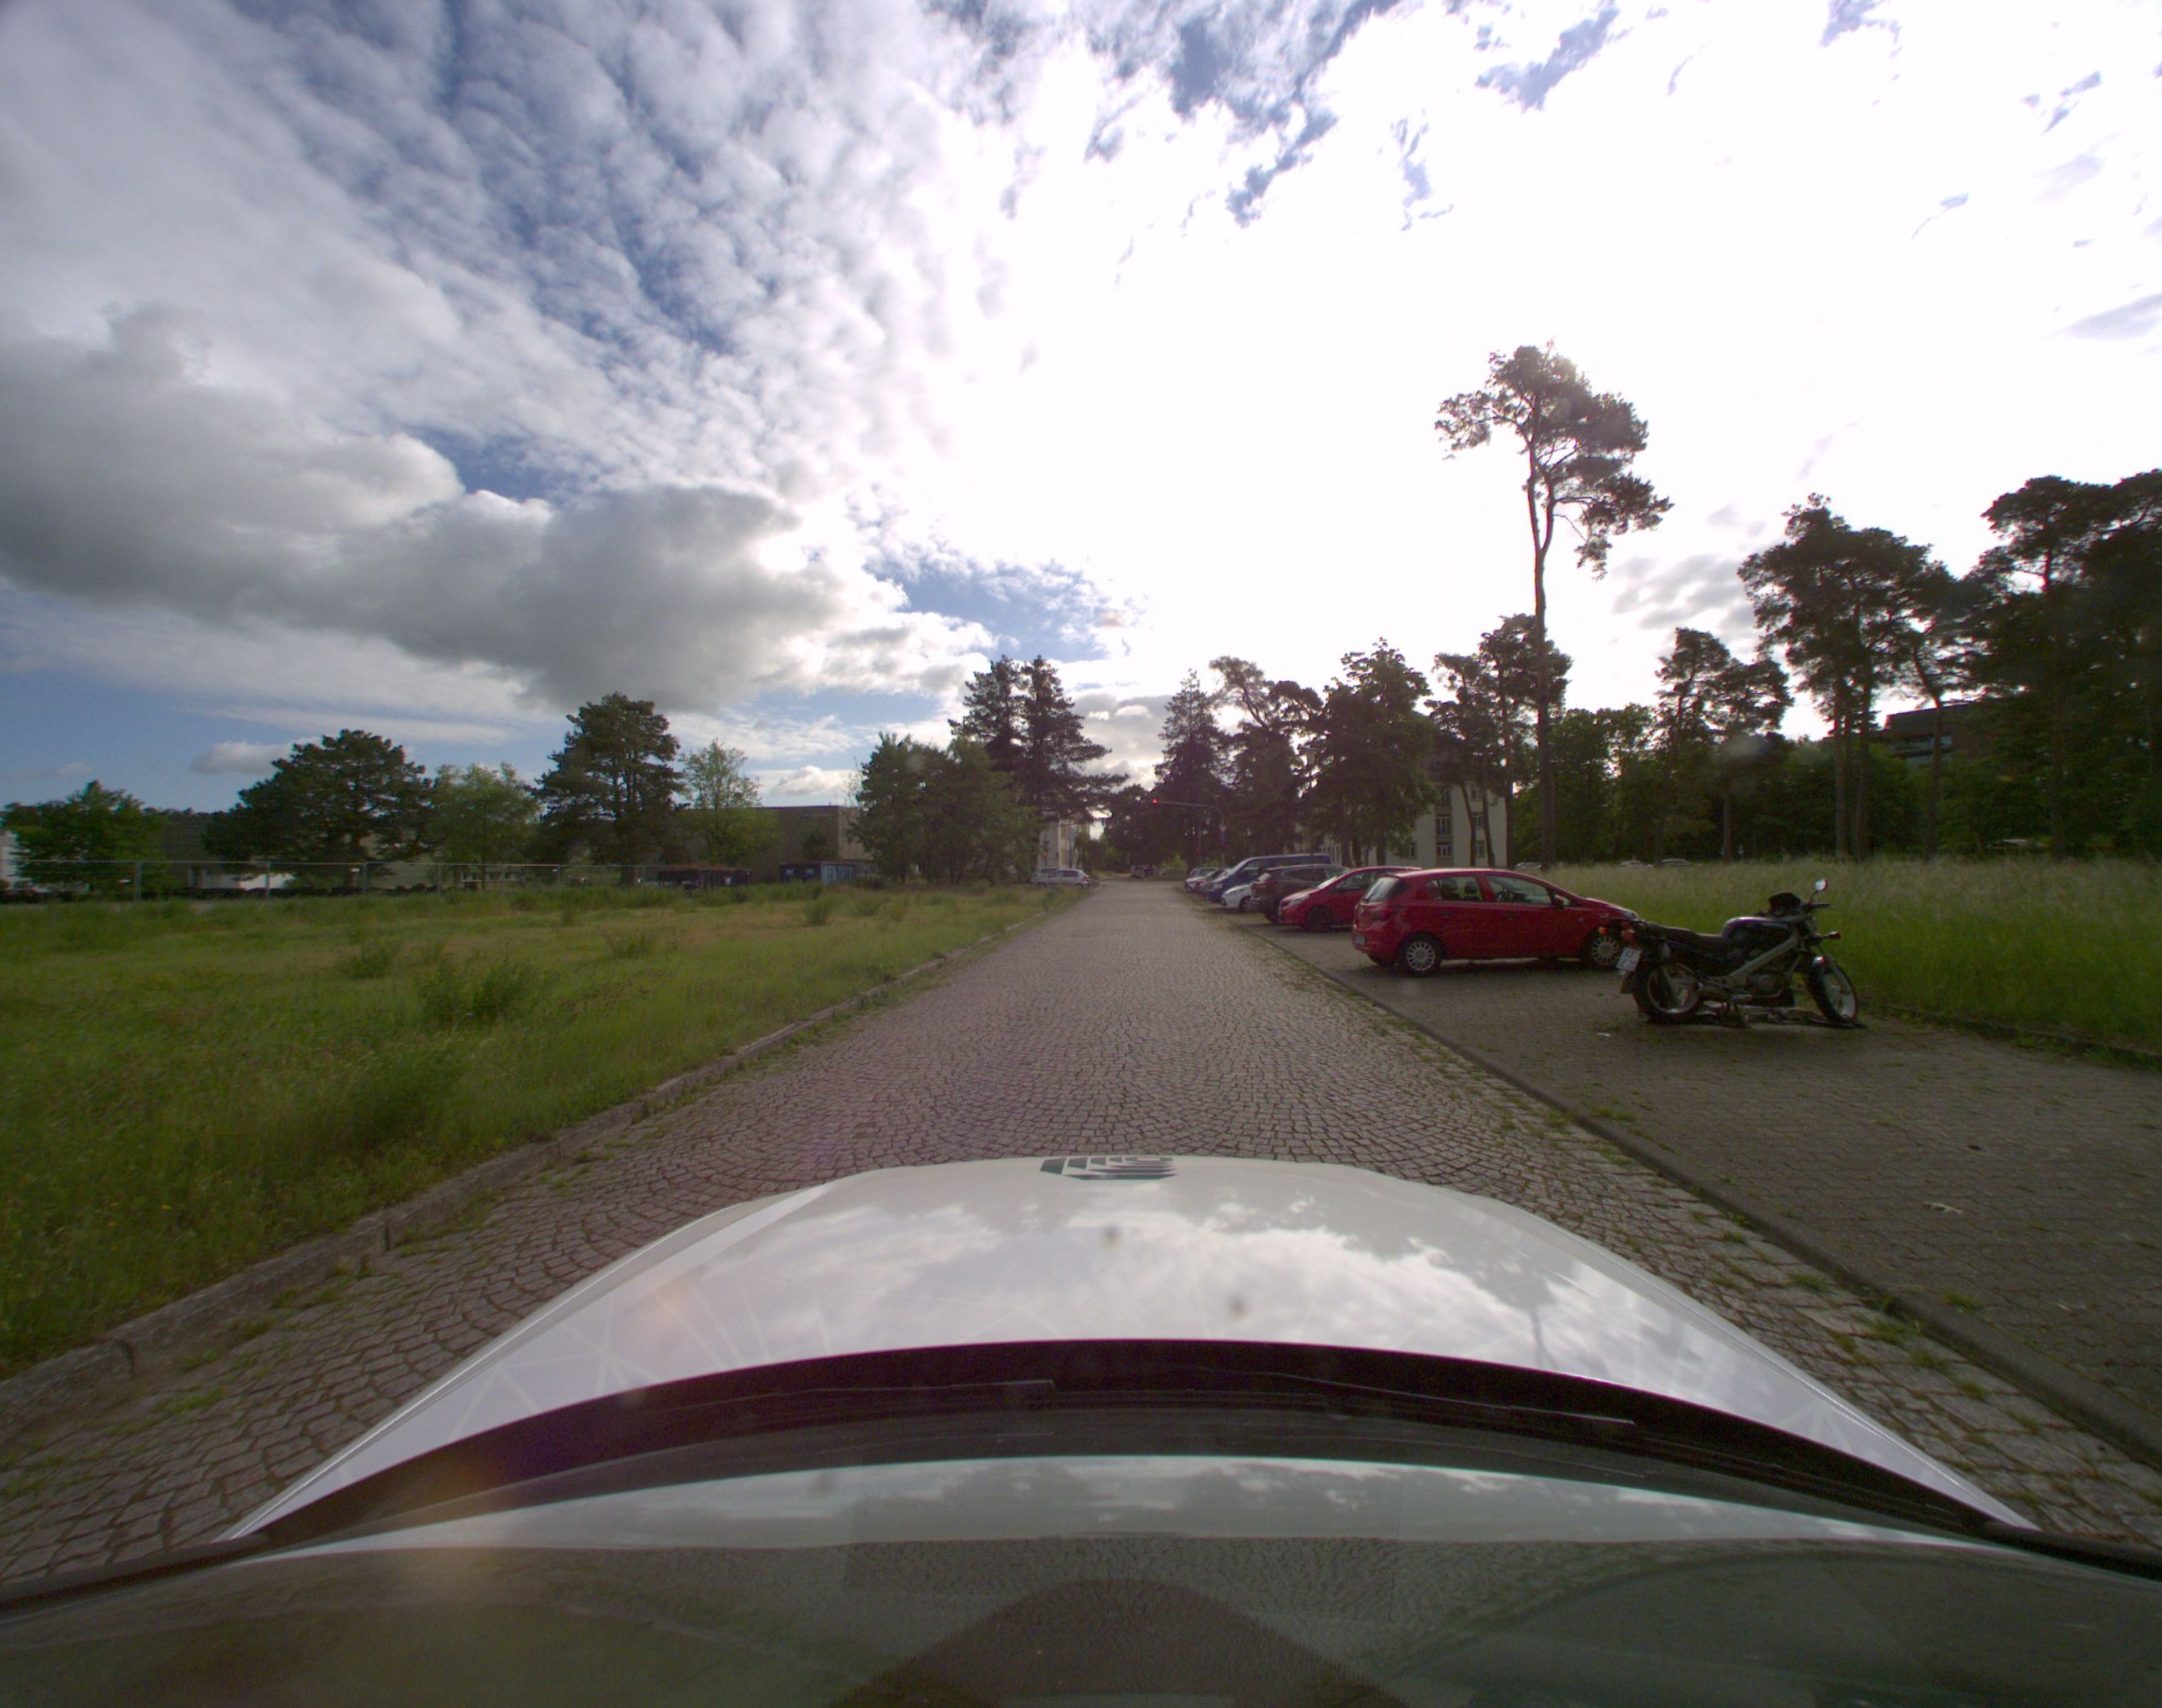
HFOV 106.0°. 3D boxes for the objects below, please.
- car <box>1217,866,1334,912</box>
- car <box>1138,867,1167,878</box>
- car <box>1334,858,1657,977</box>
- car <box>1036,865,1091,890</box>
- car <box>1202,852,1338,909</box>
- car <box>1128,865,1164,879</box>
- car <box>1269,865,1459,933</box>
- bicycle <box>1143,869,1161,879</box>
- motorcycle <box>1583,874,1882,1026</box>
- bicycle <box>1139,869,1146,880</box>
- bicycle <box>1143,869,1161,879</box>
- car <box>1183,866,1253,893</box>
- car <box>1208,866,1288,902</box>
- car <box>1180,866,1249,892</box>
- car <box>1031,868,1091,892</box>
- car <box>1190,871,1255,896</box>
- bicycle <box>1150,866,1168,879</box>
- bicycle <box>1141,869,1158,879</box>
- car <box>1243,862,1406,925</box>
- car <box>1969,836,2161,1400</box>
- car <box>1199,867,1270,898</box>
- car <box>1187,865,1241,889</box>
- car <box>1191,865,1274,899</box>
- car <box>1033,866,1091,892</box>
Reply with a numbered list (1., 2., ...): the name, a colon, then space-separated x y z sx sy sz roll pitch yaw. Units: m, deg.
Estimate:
1. car: 6.773 1.192 28.585 3.709 1.424 1.655 -2 -1 1
2. car: 10.443 2.680 118.415 3.977 1.644 1.998 -1 -1 -3
3. car: 5.886 0.881 11.942 3.824 1.505 1.739 -2 -1 2
4. car: -1.285 1.728 60.186 3.978 1.750 1.924 -1 -1 -4
5. car: 7.133 0.997 31.051 4.764 2.040 1.738 -1 -1 1
6. car: 9.711 2.638 121.745 5.045 2.014 1.995 0 -1 -7
7. car: 6.680 1.049 19.540 3.969 1.518 1.740 -1 -1 3
8. bicycle: 9.070 2.540 104.499 2.155 1.268 0.811 -1 -1 -3
9. motorcycle: 5.940 0.848 7.486 2.258 1.275 0.605 -1 -1 -2
10. bicycle: 7.522 2.509 100.230 0.806 1.268 1.975 -1 -1 5
11. bicycle: 9.032 2.523 103.912 2.155 1.268 0.811 -1 -1 -3
12. car: 8.309 1.543 49.524 3.976 1.543 1.663 -1 -1 -2
13. car: 7.425 1.306 36.402 3.280 1.505 1.665 -1 -1 1
14. car: 8.511 1.604 52.269 4.112 1.543 1.663 -1 -1 -2
15. car: -1.349 1.731 54.603 3.977 1.552 1.998 -1 -1 -3
16. car: 7.793 1.607 44.994 3.284 1.267 1.663 -1 -1 -2
17. bicycle: 10.044 2.389 105.158 2.155 1.616 0.811 -1 -1 -3
18. bicycle: 8.919 2.575 105.724 2.155 1.268 0.811 -1 -1 -3
19. car: 6.523 1.047 22.152 3.935 1.580 1.763 -1 -1 2
20. car: 5.087 0.660 1.689 4.245 1.573 1.897 -2 -1 3
21. car: 7.970 1.463 42.358 3.289 1.504 1.660 -1 -1 -7
22. car: 8.916 1.550 54.823 3.380 1.543 1.390 -1 -1 -2
23. car: 7.307 1.329 39.419 3.594 1.506 1.660 -1 -1 -7
24. car: -1.335 1.708 57.097 3.977 1.706 1.998 -1 -1 -3
